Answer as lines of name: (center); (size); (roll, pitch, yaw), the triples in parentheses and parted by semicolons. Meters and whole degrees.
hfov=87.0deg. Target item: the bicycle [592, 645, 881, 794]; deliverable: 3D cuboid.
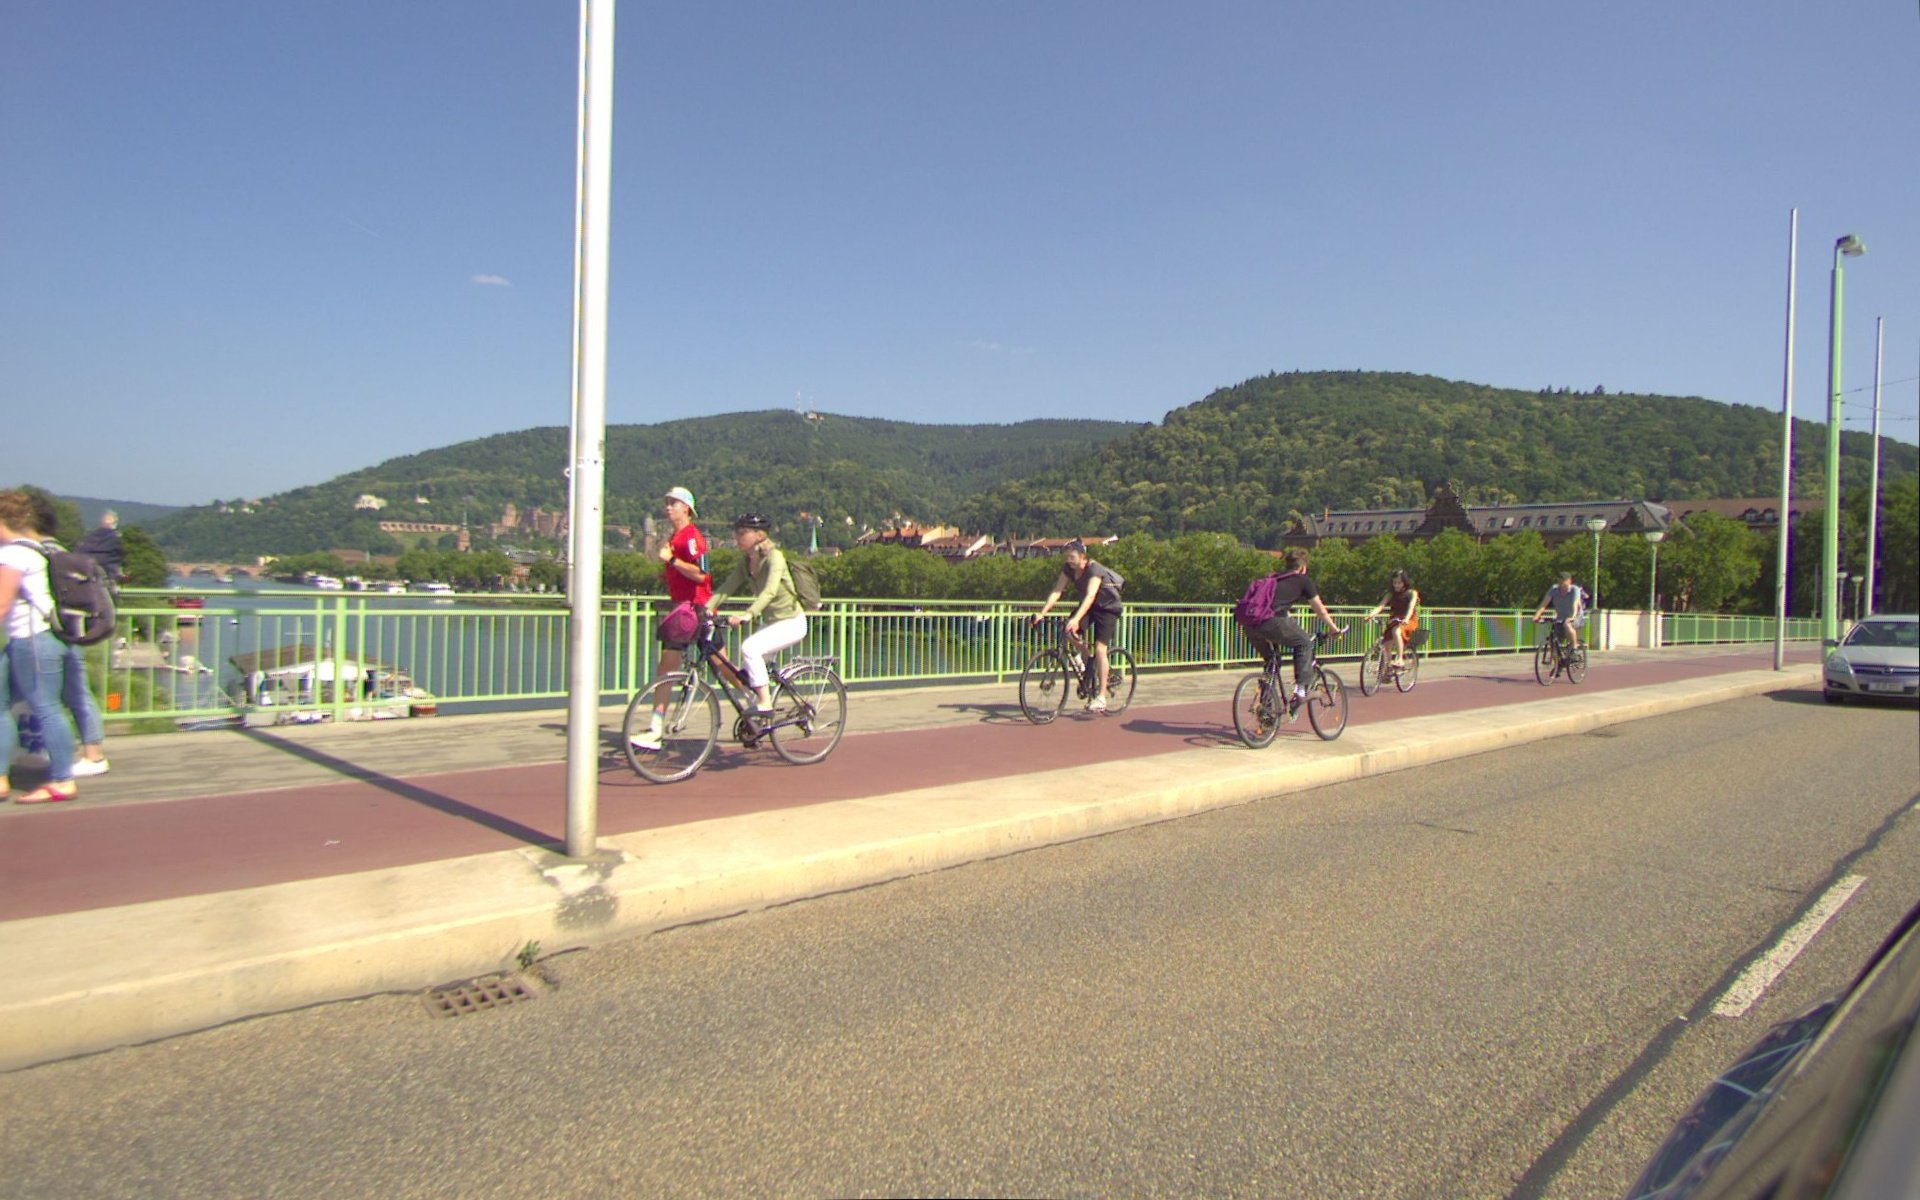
bicycle: (-1.444, 0.738, 6.786); (1.835, 0.775, 0.594); (0, 2, -43)

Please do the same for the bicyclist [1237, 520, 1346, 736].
bicyclist: (2.890, 0.223, 8.836); (0.660, 1.791, 0.587); (1, 1, -40)

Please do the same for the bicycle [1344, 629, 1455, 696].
bicycle: (5.900, 0.806, 13.545); (1.833, 0.775, 0.595); (0, 2, -40)

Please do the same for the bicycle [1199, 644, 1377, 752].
bicycle: (2.913, 0.817, 8.897); (1.833, 0.775, 0.595); (0, 2, -40)

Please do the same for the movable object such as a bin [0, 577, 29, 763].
movable object such as a bin: (-6.233, 0.414, 6.076); (0.917, 1.104, 0.583); (1, 2, -41)

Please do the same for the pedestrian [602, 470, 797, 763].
pedestrian: (-1.904, 0.096, 7.408); (1.108, 1.948, 0.812); (1, 2, -41)

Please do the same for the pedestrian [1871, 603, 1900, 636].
pedestrian: (49.298, 1.023, 53.922); (1.063, 1.683, 0.949); (1, 3, -41)

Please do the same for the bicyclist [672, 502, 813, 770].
bicyclist: (-1.452, 0.214, 6.757); (0.690, 1.671, 0.587); (1, 2, -42)

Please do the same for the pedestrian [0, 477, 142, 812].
pedestrian: (-4.912, 0.209, 5.408); (0.810, 1.679, 0.664); (1, 2, -41)

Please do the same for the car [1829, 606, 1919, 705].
car: (15.909, 0.845, 16.759); (4.250, 1.484, 1.709); (0, 0, -41)

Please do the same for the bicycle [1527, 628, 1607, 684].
bicycle: (9.641, 0.861, 16.048); (1.835, 0.775, 0.594); (0, 2, -43)

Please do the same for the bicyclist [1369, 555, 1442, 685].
bicyclist: (5.983, 0.251, 13.596); (0.689, 1.671, 0.606); (1, 2, -40)

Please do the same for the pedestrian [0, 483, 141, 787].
pedestrian: (-5.336, 0.183, 5.987); (0.733, 1.679, 0.668); (1, 2, -41)

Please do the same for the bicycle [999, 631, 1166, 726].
bicycle: (1.232, 0.728, 9.905); (1.800, 0.775, 0.594); (0, 2, -43)

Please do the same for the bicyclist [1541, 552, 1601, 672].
bicyclist: (9.701, 0.176, 16.062); (0.690, 1.842, 0.587); (1, 2, -42)

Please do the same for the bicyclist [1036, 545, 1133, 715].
bicyclist: (1.211, 0.267, 9.859); (0.690, 1.578, 0.587); (1, 2, -42)
